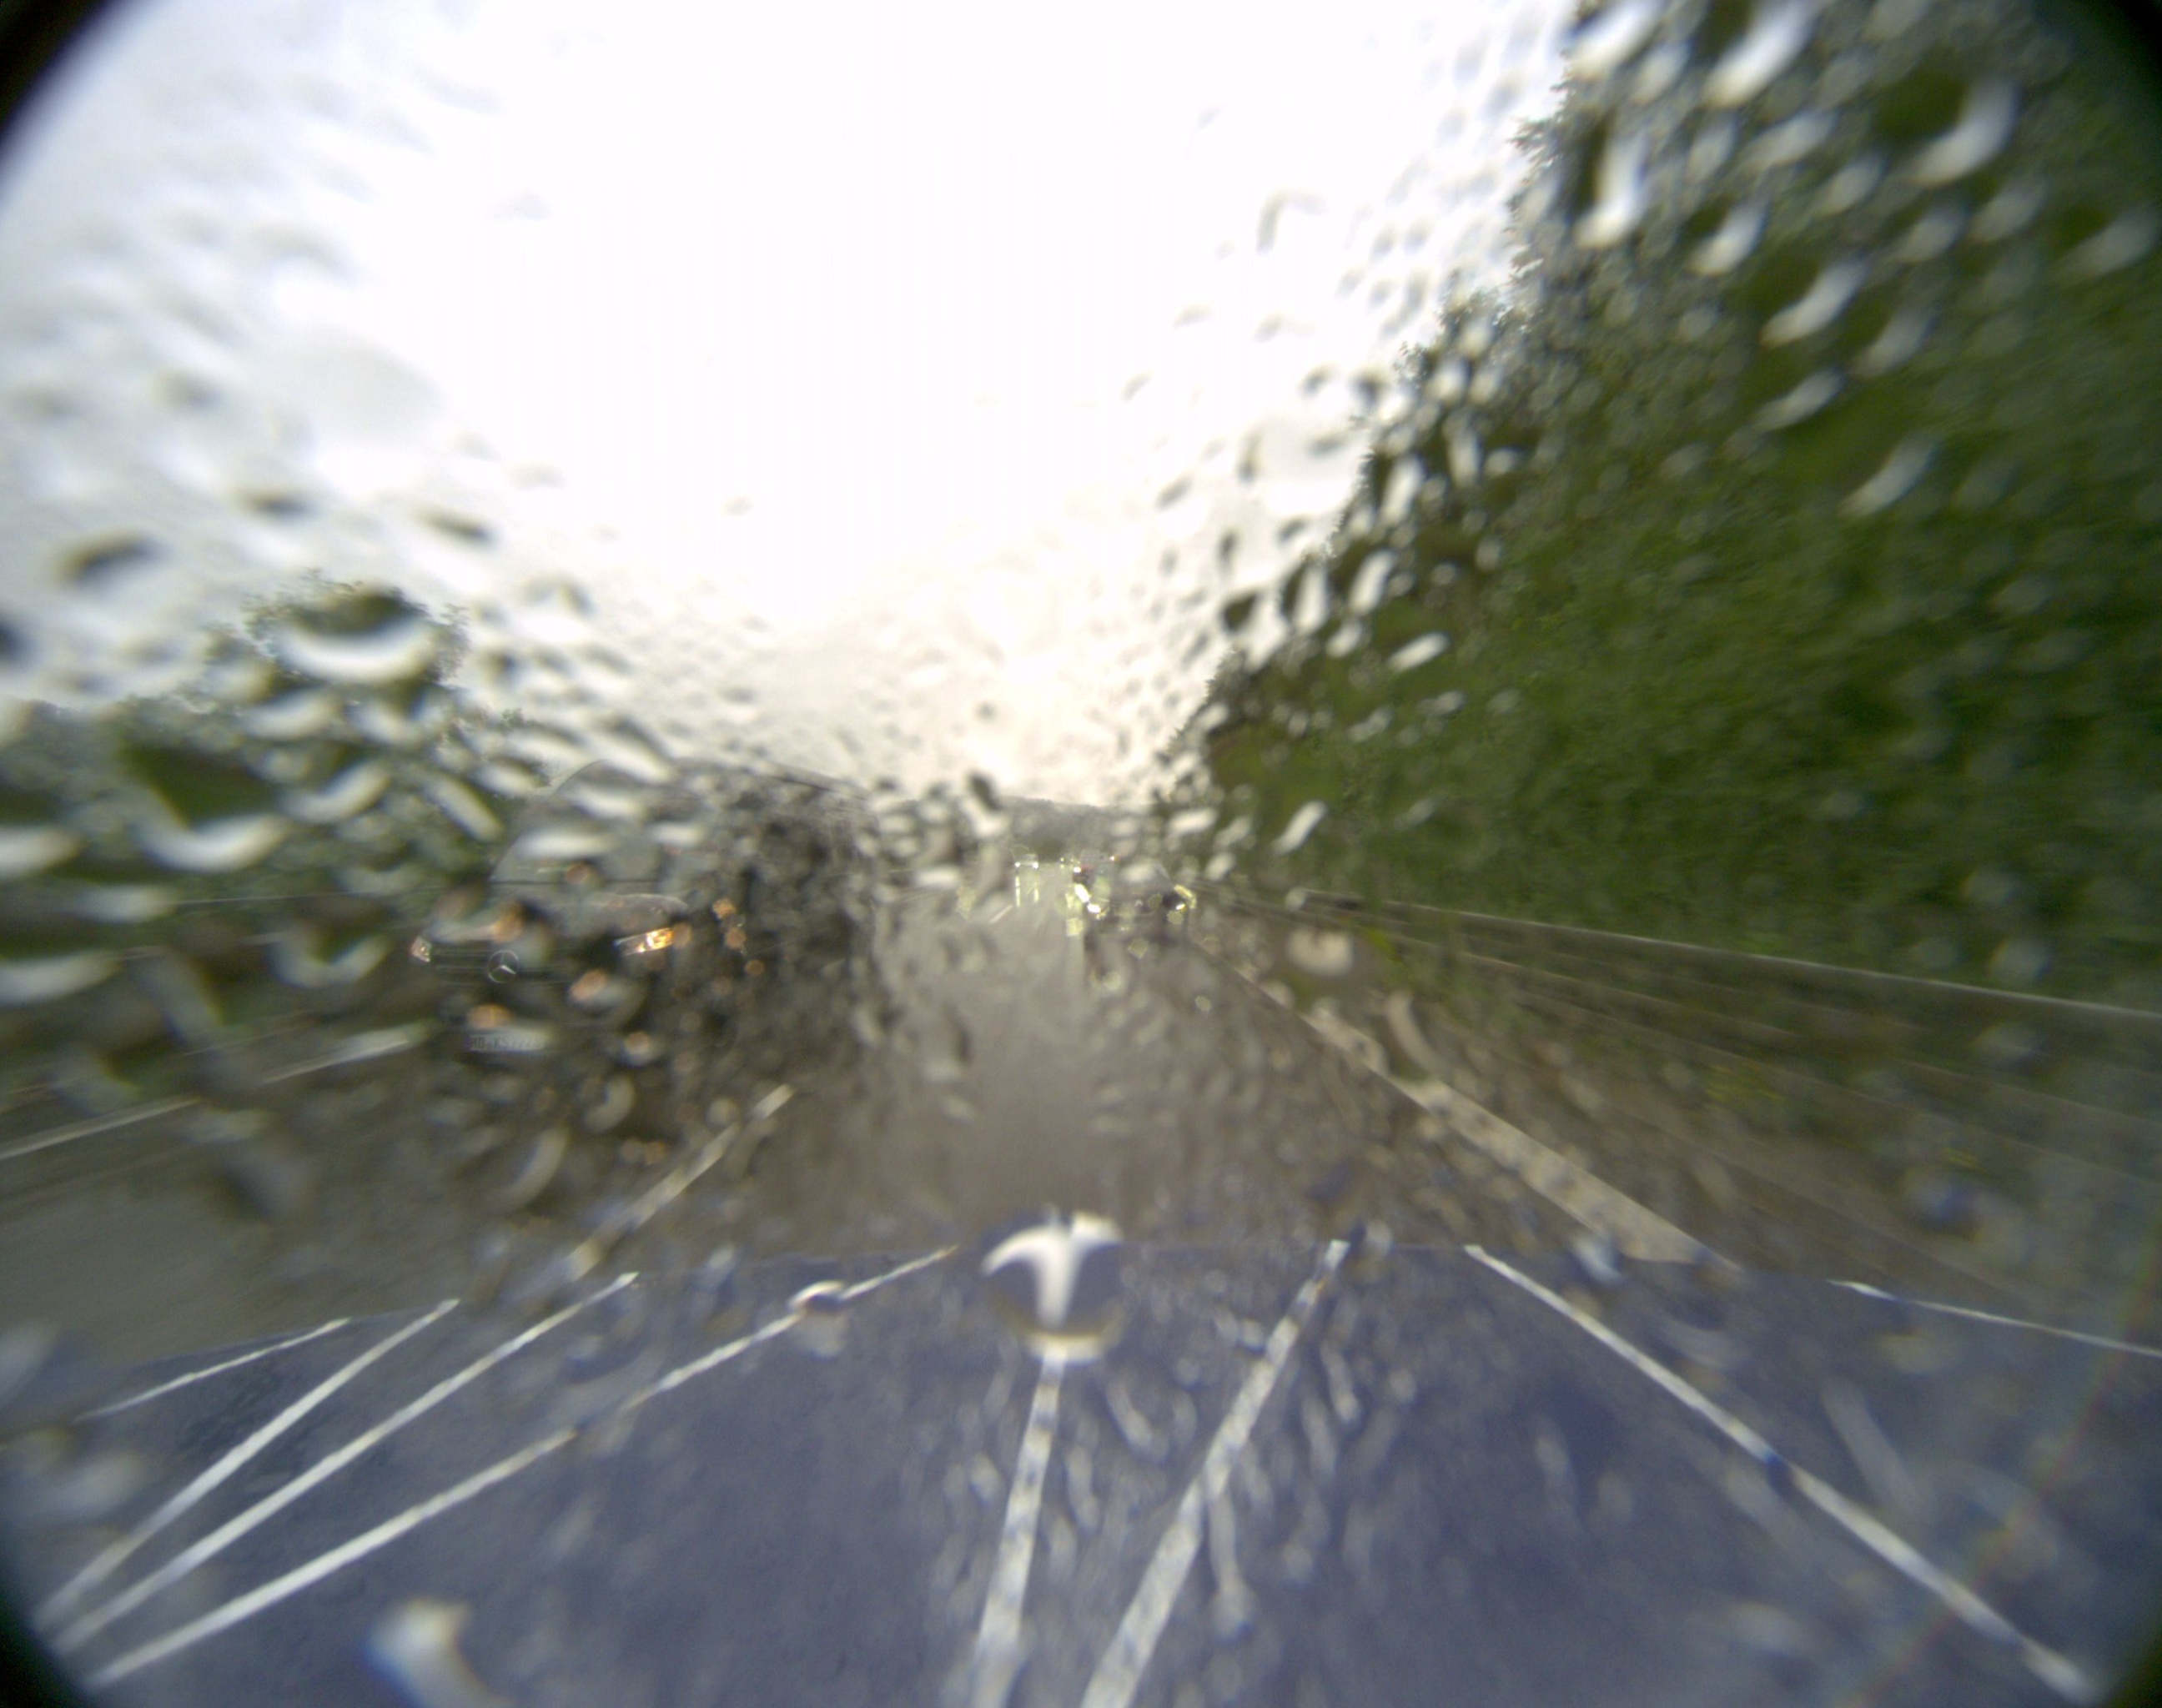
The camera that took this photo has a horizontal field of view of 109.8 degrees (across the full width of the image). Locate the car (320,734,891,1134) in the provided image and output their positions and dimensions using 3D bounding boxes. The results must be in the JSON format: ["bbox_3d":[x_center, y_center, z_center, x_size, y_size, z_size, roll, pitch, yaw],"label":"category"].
[{"bbox_3d":[-3.814,0.474,8.148,1.999,2.480,6.703,-1,1,-2],"label":"car"}]

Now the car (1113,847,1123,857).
[{"bbox_3d":[6.331,-0.379,130.069,1.624,1.713,3.413,1,1,4],"label":"car"}]

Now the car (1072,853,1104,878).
[{"bbox_3d":[0.360,0.633,43.611,1.713,1.316,3.944,-1,1,-1],"label":"car"}]

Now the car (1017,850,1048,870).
[{"bbox_3d":[-3.725,0.437,58.878,1.990,1.407,4.564,-2,1,1],"label":"car"}]

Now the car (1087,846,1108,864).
[{"bbox_3d":[1.582,0.060,71.980,1.906,1.545,4.564,-2,1,2],"label":"car"}]

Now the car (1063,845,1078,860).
[{"bbox_3d":[-1.374,-0.246,100.335,1.765,1.851,3.767,-2,1,1],"label":"car"}]

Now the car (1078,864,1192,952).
[{"bbox_3d":[0.883,0.907,14.411,1.839,1.316,4.134,-1,1,0],"label":"car"}]

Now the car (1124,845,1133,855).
[{"bbox_3d":[9.616,-0.823,154.617,1.825,2.002,3.873,-2,1,3],"label":"car"}]
